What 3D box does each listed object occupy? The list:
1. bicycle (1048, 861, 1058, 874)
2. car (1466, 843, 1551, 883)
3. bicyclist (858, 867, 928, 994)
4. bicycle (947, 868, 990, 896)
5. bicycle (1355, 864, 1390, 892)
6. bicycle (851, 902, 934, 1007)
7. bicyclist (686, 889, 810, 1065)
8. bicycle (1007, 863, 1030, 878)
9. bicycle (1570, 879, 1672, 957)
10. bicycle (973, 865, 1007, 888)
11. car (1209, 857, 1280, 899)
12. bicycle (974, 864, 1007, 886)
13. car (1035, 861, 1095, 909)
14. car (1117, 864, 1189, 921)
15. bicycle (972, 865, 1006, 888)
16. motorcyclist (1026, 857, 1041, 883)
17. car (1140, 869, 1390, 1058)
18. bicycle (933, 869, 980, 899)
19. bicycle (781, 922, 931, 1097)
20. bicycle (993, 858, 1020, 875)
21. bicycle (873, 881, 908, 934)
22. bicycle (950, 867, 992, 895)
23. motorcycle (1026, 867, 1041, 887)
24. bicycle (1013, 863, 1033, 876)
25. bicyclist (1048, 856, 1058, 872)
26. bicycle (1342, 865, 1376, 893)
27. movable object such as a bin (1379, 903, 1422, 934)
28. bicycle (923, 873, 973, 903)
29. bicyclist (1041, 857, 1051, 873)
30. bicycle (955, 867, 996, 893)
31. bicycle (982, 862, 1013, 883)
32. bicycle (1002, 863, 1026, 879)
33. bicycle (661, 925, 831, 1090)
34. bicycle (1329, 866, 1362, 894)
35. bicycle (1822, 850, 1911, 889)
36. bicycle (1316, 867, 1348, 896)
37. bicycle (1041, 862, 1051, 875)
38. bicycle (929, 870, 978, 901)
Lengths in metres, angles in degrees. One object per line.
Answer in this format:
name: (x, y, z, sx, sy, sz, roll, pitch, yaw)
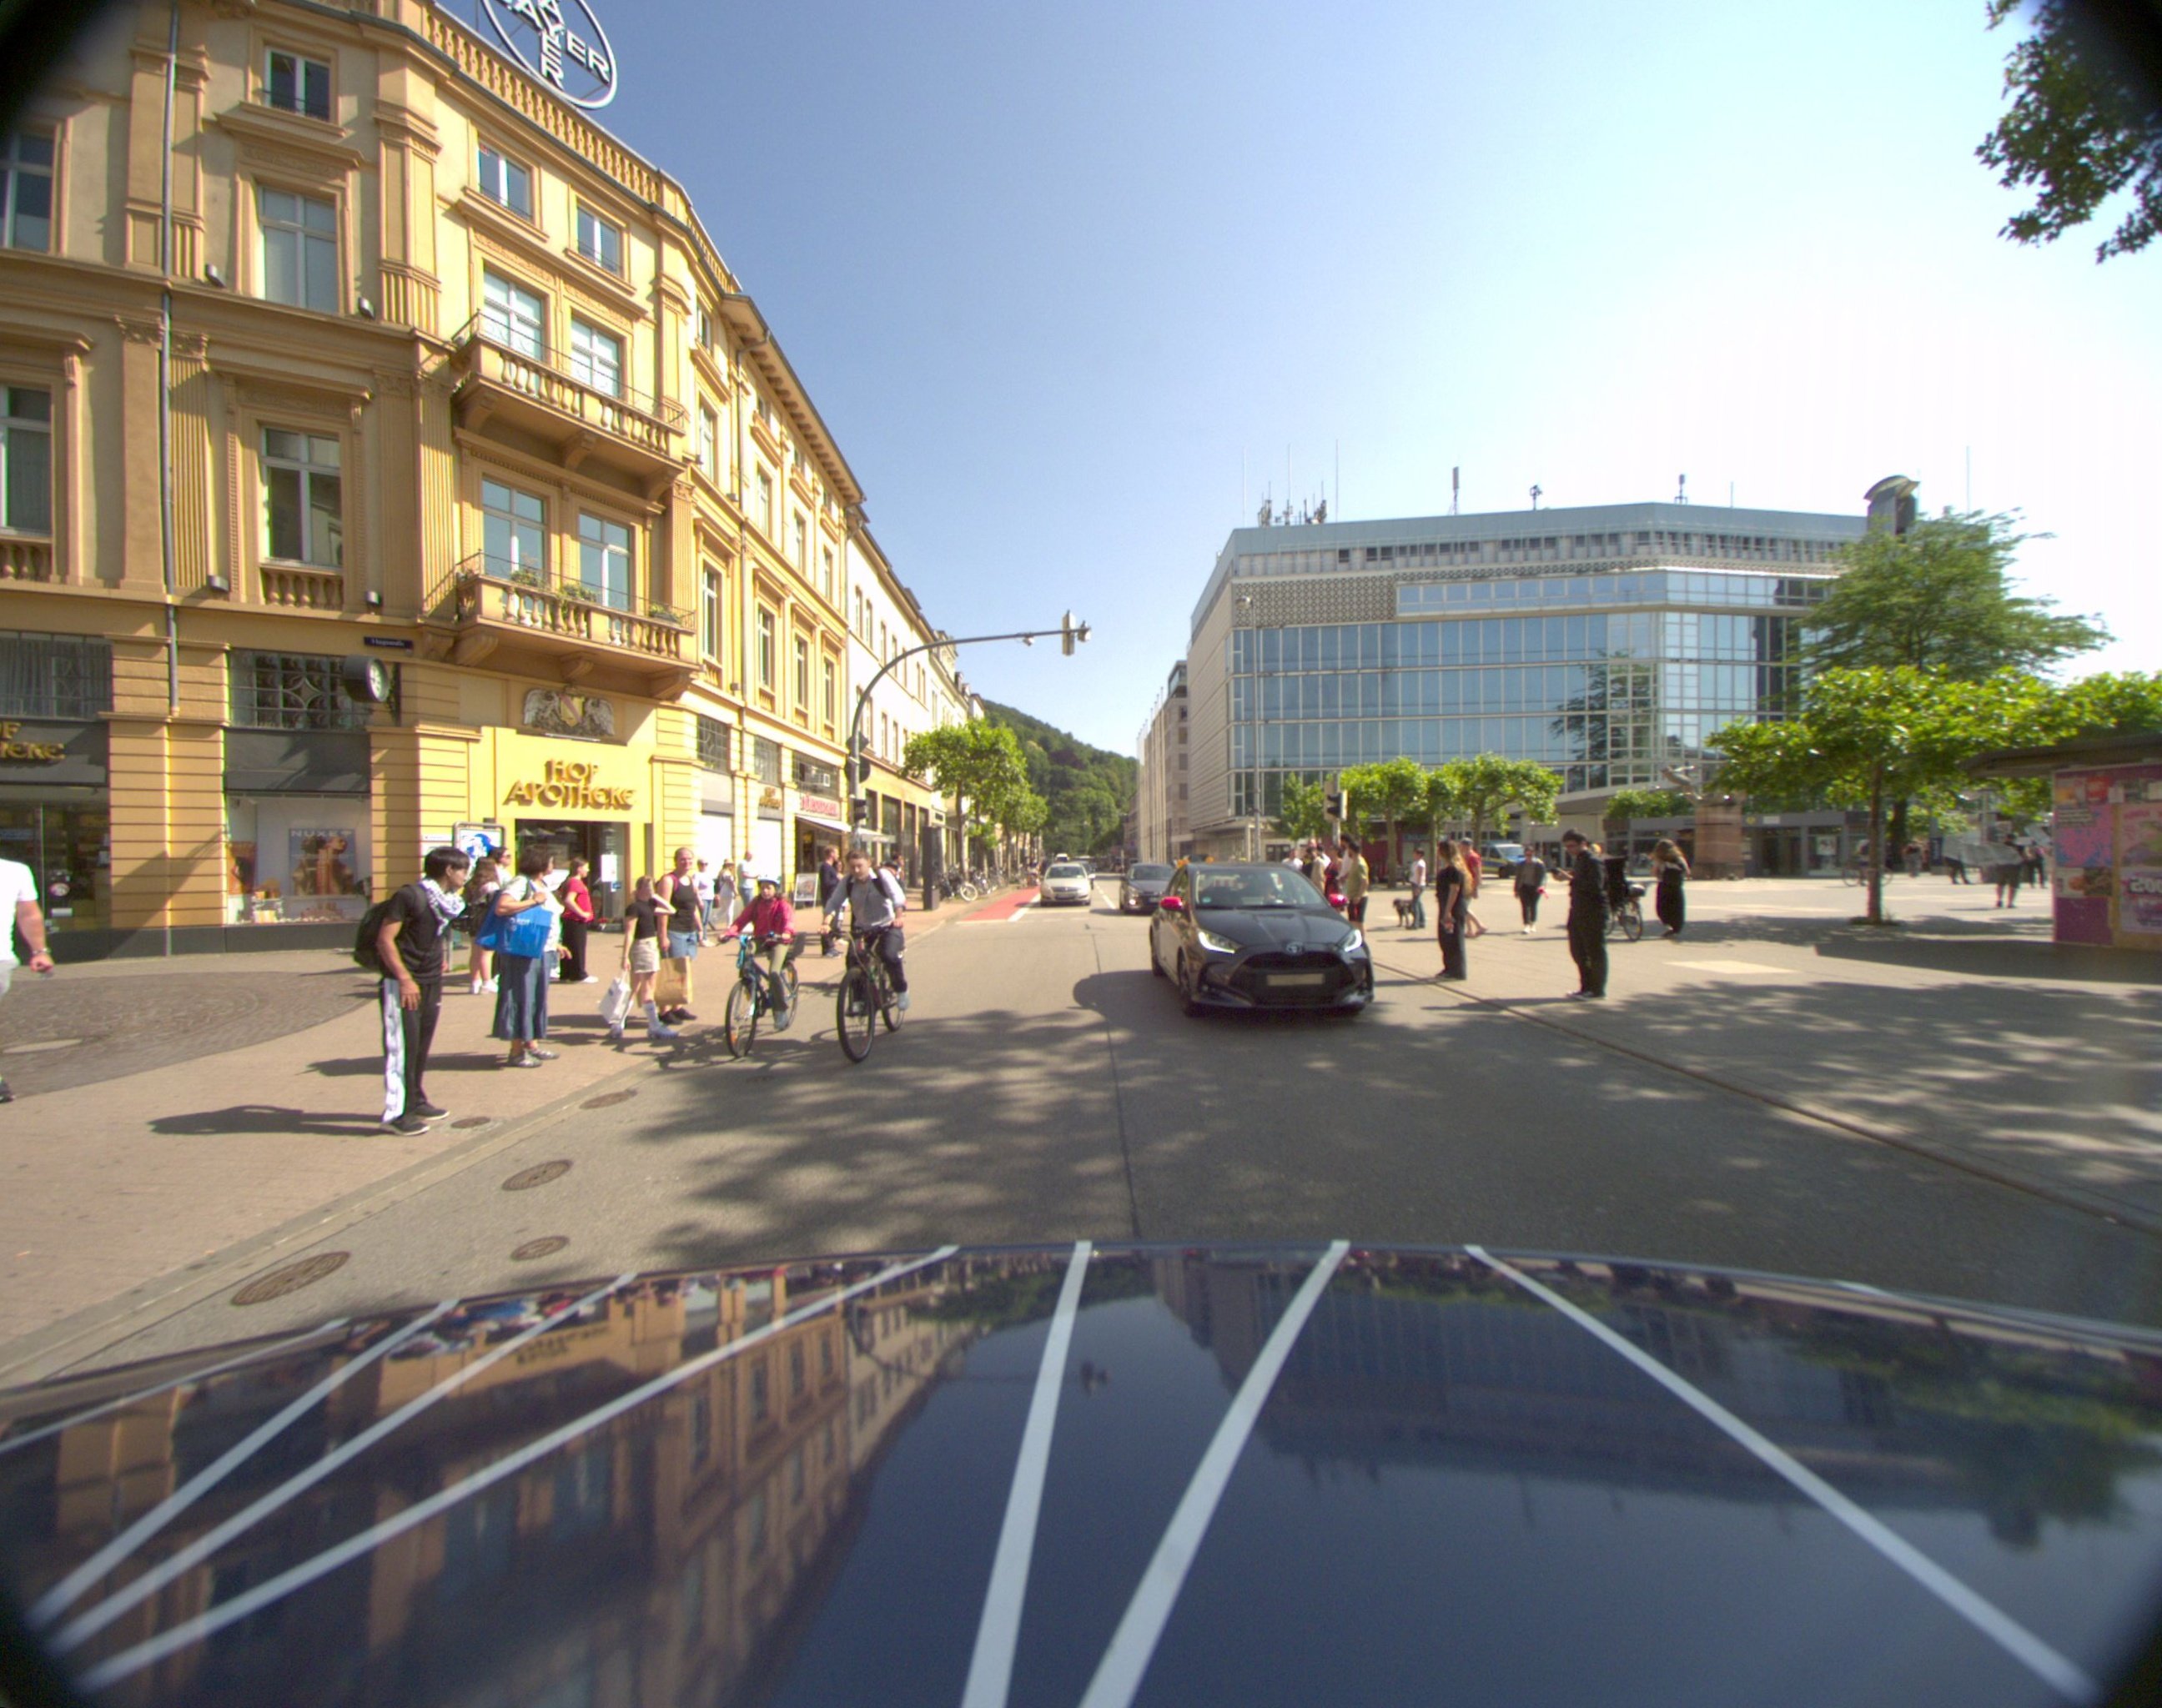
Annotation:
bicycle: (-2.512, 1.162, 68.169, 0.736, 1.086, 1.897, -3, 1, 0)
car: (23.103, 0.468, 41.252, 2.000, 2.002, 3.997, -3, 0, -8)
bicyclist: (-2.462, 0.982, 10.044, 0.690, 1.567, 0.778, -3, 1, -4)
bicycle: (-4.839, 1.203, 32.764, 1.757, 1.140, 0.592, -1, 1, -3)
bicycle: (12.611, 1.015, 32.924, 0.592, 1.140, 1.757, -1, 0, -8)
bicycle: (-2.435, 1.260, 10.026, 0.667, 1.086, 1.897, -3, 1, -3)
bicyclist: (-2.901, 1.036, 6.696, 0.690, 1.388, 0.778, -3, 1, -2)
bicycle: (-4.976, 1.294, 60.573, 1.757, 1.140, 0.592, -1, 1, -3)
bicycle: (9.204, 1.054, 13.048, 0.729, 1.137, 1.914, -3, 1, 13)
bicycle: (-4.923, 1.218, 41.266, 1.757, 1.140, 0.592, -1, 1, -3)
car: (8.789, 1.241, 40.709, 1.994, 2.002, 4.007, -2, 1, 40)
bicycle: (-5.036, 1.156, 42.172, 1.757, 1.140, 0.592, -1, 1, -3)
car: (-0.511, 1.030, 26.878, 1.918, 1.401, 4.000, -3, 0, 0)
car: (2.031, 1.057, 22.345, 1.699, 1.397, 4.000, 2, 0, 0)
bicycle: (-4.850, 1.195, 40.153, 1.757, 1.140, 0.592, -1, 1, -3)
motorcyclist: (-2.766, 0.928, 44.452, 0.736, 1.446, 0.706, -3, 1, 0)
car: (1.709, 0.958, 8.389, 1.781, 1.466, 3.999, -1, 0, 0)
bicycle: (-4.941, 1.173, 30.196, 1.757, 1.140, 0.592, -1, 1, -3)
bicycle: (-1.850, 1.234, 6.571, 0.736, 1.086, 1.897, -3, 1, -2)
bicycle: (-5.060, 0.840, 51.739, 1.757, 1.140, 0.592, -1, 1, -3)
bicycle: (-4.526, 1.245, 18.063, 0.737, 1.086, 1.895, 2, 0, -14)
bicycle: (-4.824, 1.190, 33.506, 1.757, 1.140, 0.592, -1, 1, -3)
motorcycle: (-2.747, 1.336, 44.374, 0.736, 1.086, 1.897, -3, 1, 0)
bicycle: (-5.132, 1.357, 67.130, 1.757, 1.140, 0.592, -1, 1, -3)
bicyclist: (-2.515, 0.867, 68.257, 0.736, 1.376, 0.734, -3, 1, 0)
bicycle: (11.983, 1.070, 32.805, 0.592, 1.140, 1.757, -1, 0, -8)
movable object such as a bin: (6.722, 1.357, 16.014, 0.662, 0.577, 0.528, -3, 1, -2)
bicycle: (-4.934, 1.251, 28.198, 1.757, 1.029, 0.592, -1, 1, -3)
bicyclist: (-2.926, 0.943, 63.968, 0.726, 1.271, 0.715, -3, 1, 0)
bicycle: (-4.852, 1.197, 34.983, 1.757, 1.140, 0.592, -1, 1, -3)
bicycle: (-4.936, 1.087, 44.789, 1.757, 1.140, 0.592, -1, 1, -3)
bicycle: (-5.096, 1.279, 57.949, 1.757, 1.140, 0.592, -1, 1, -3)
bicycle: (-2.899, 1.278, 6.814, 0.736, 1.086, 1.819, -2, 0, -2)
bicycle: (11.342, 1.097, 32.683, 0.592, 1.140, 1.757, -1, 0, -8)
bicycle: (27.100, 0.528, 26.219, 2.355, 1.237, 0.733, -3, 1, -2)
bicycle: (10.729, 1.172, 32.553, 0.592, 1.140, 1.757, -1, 0, -8)
bicycle: (-2.926, 1.207, 63.932, 0.736, 1.086, 1.897, -3, 1, 0)
bicycle: (-4.909, 1.206, 29.327, 1.757, 1.140, 0.592, -1, 1, -3)
